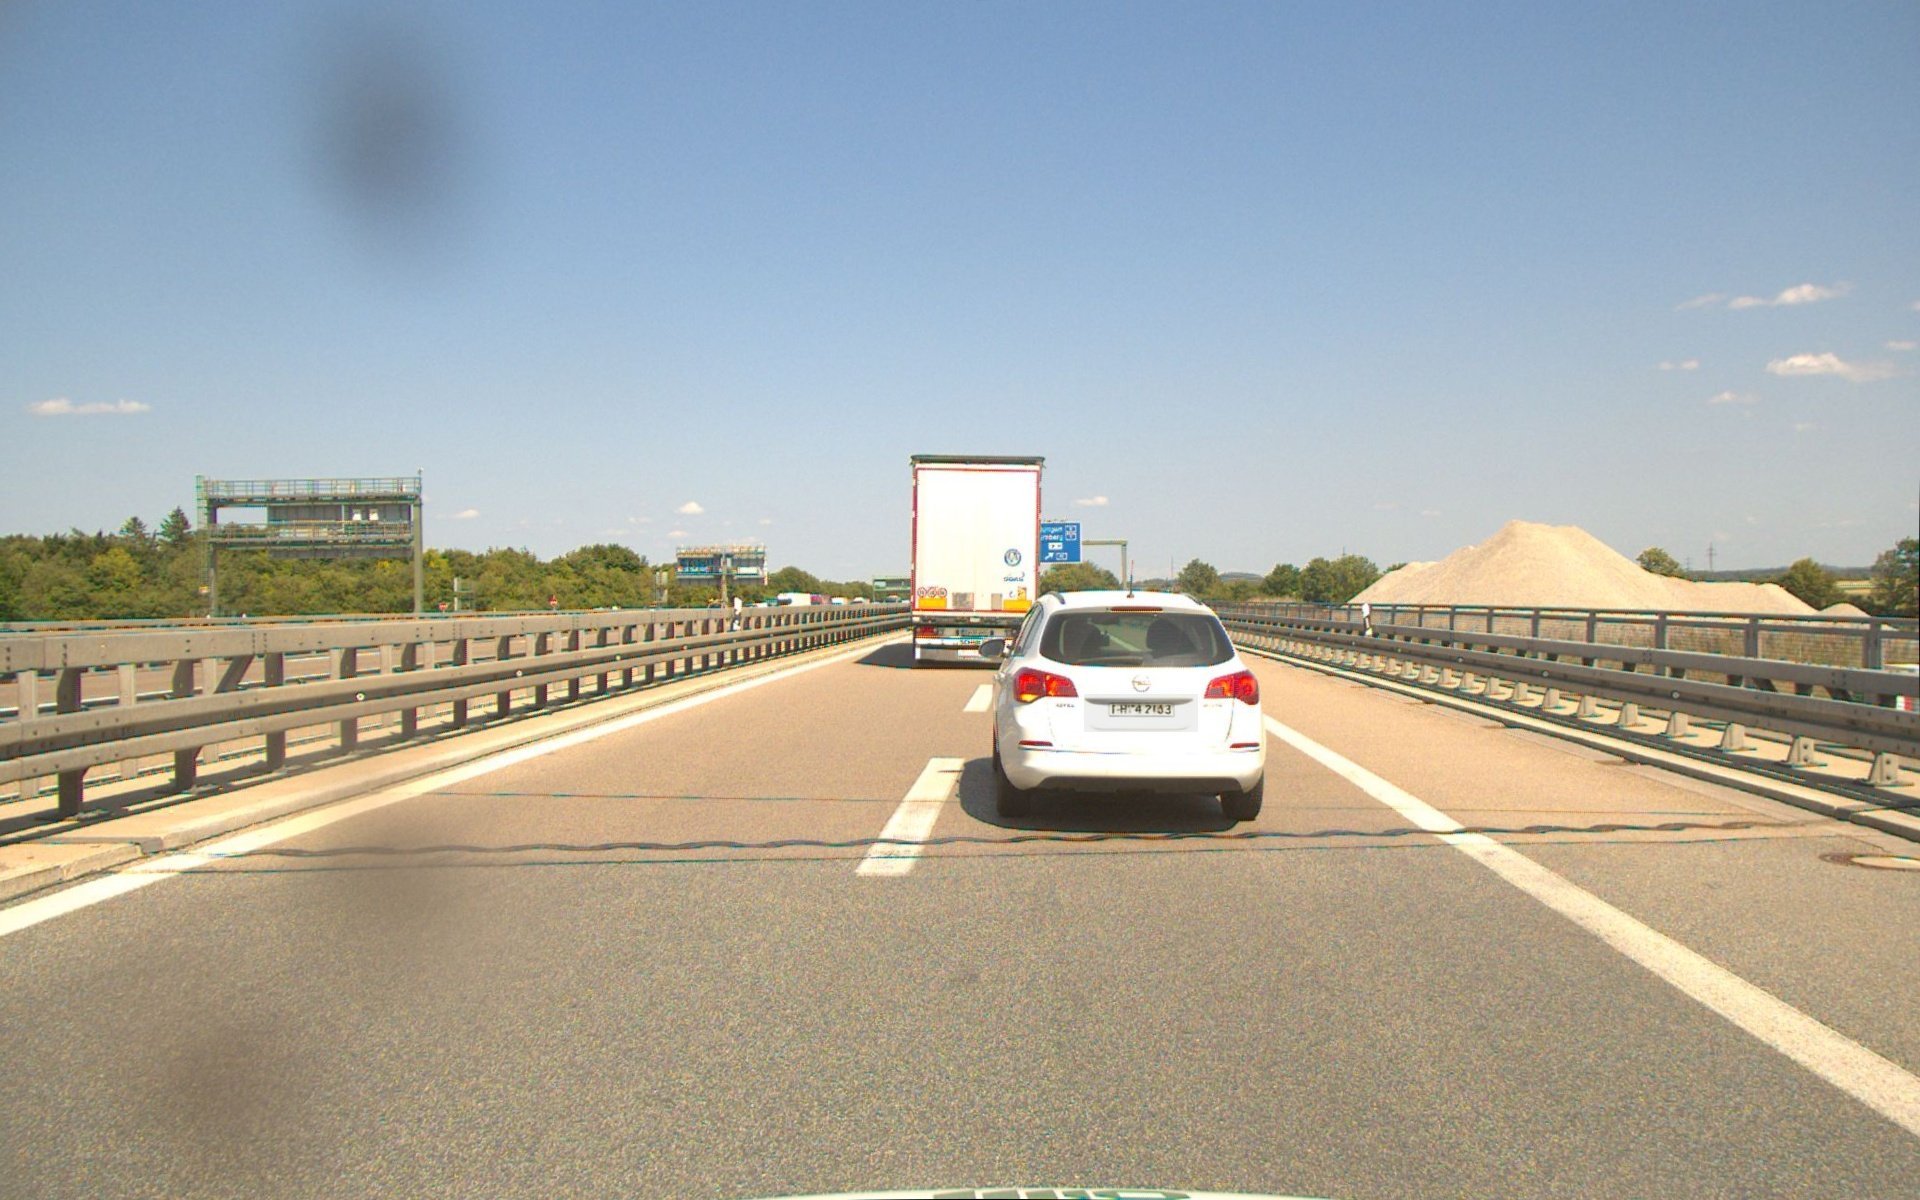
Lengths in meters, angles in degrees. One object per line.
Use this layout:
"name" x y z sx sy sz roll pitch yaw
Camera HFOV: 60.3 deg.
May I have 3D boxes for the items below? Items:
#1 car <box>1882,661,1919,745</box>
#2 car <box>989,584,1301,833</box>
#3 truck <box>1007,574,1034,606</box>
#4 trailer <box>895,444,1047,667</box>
"car" 48.883 5.117 81.990 5.045 4.033 2.479 1 -1 -7
"car" 1.149 0.655 12.115 1.816 1.468 4.372 1 0 0
"truck" 8.651 -1.428 235.947 3.465 4.217 11.260 3 -1 2
"trailer" 0.339 -0.774 37.348 2.852 4.218 11.258 1 -1 1
